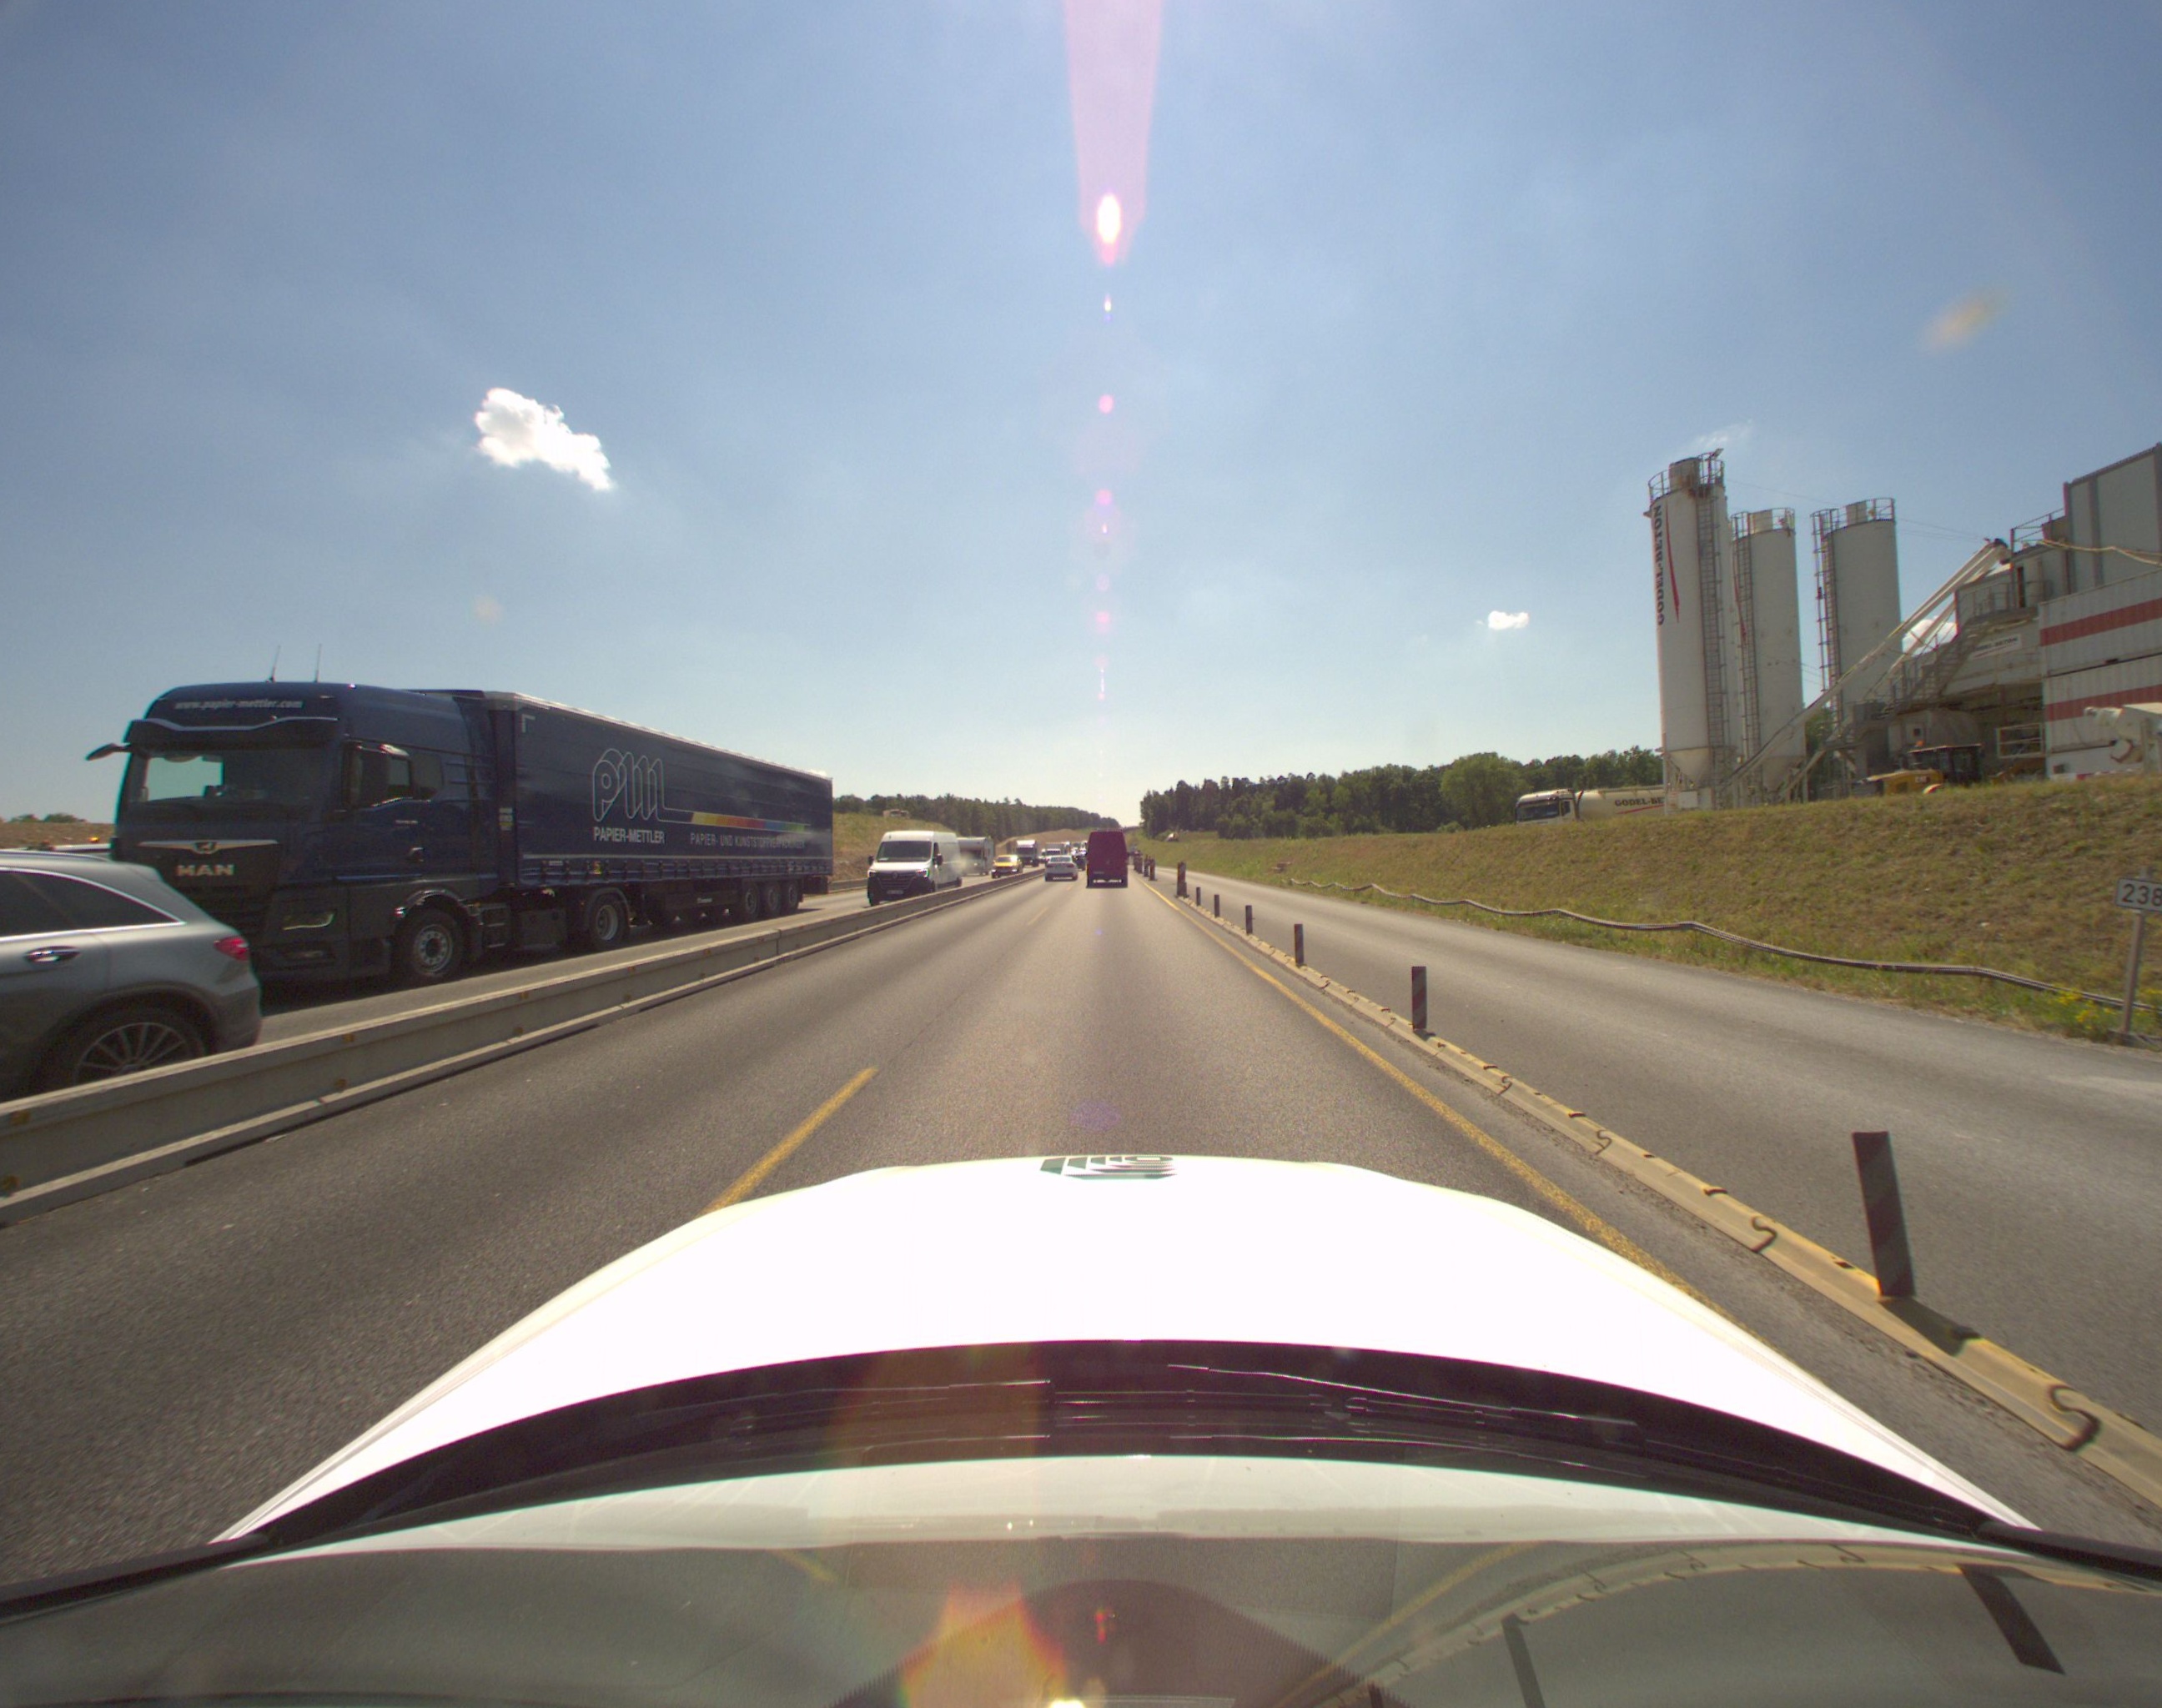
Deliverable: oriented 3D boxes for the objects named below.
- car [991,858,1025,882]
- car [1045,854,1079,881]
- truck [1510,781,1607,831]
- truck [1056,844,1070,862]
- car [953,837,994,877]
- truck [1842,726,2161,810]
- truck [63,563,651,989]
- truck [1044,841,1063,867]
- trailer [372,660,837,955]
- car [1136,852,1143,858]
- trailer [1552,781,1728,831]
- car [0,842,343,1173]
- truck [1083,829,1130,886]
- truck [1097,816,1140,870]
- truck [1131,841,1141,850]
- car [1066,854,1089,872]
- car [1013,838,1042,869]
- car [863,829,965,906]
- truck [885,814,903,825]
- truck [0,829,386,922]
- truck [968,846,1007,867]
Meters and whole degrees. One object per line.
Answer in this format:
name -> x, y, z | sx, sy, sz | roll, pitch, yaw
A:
car -> -4.940, 1.057, 55.635 | 1.754, 1.574, 4.365 | -1, 0, 3
car -> -1.092, 0.761, 48.361 | 1.824, 1.522, 3.963 | 0, 0, 2
truck -> 27.500, -2.663, 46.891 | 5.330, 2.544, 2.873 | 0, -1, -35
truck -> -3.892, -0.184, 176.235 | 2.634, 3.716, 9.486 | 0, 0, 2
car -> -8.188, 0.238, 62.663 | 2.243, 2.955, 5.851 | 0, -1, 2
truck -> 35.857, -3.298, 31.988 | 9.023, 2.868, 2.464 | 0, -1, 7
truck -> -9.571, -0.832, 12.039 | 2.954, 4.652, 6.246 | 0, -1, 2
truck -> -3.382, 0.045, 102.217 | 2.264, 3.150, 7.310 | 0, -1, -1
trailer -> -9.378, -0.682, 19.168 | 2.974, 4.596, 12.889 | 0, 0, 2
car -> 15.403, 0.331, 216.011 | 1.647, 1.426, 4.548 | -3, 1, 2
trailer -> 32.957, -2.816, 48.155 | 8.872, 2.607, 2.462 | -1, -1, -3
car -> -6.274, 0.756, 3.374 | 1.861, 1.629, 4.887 | 0, 0, 2
truck -> 1.257, 0.169, 40.043 | 2.145, 2.590, 5.335 | 0, 0, 2
truck -> 4.104, -1.042, 91.877 | 4.383, 5.496, 16.609 | 0, 0, 2
truck -> 15.813, -2.502, 233.978 | 2.117, 2.457, 5.940 | 0, 1, 9
car -> -0.291, 0.842, 75.203 | 1.959, 1.541, 4.313 | 0, 0, 2
car -> -6.761, -0.044, 103.603 | 2.897, 3.740, 8.094 | 0, 0, 2
car -> -5.588, 0.383, 28.190 | 2.027, 2.343, 6.198 | 0, 0, 2
truck -> -55.195, -10.073, 240.079 | 2.371, 2.898, 8.279 | 0, -1, -34
truck -> -24.181, 0.518, 22.378 | 2.553, 2.058, 8.803 | 0, 0, 0
truck -> -13.503, 0.407, 117.602 | 5.076, 2.964, 2.562 | 1, -2, -29
